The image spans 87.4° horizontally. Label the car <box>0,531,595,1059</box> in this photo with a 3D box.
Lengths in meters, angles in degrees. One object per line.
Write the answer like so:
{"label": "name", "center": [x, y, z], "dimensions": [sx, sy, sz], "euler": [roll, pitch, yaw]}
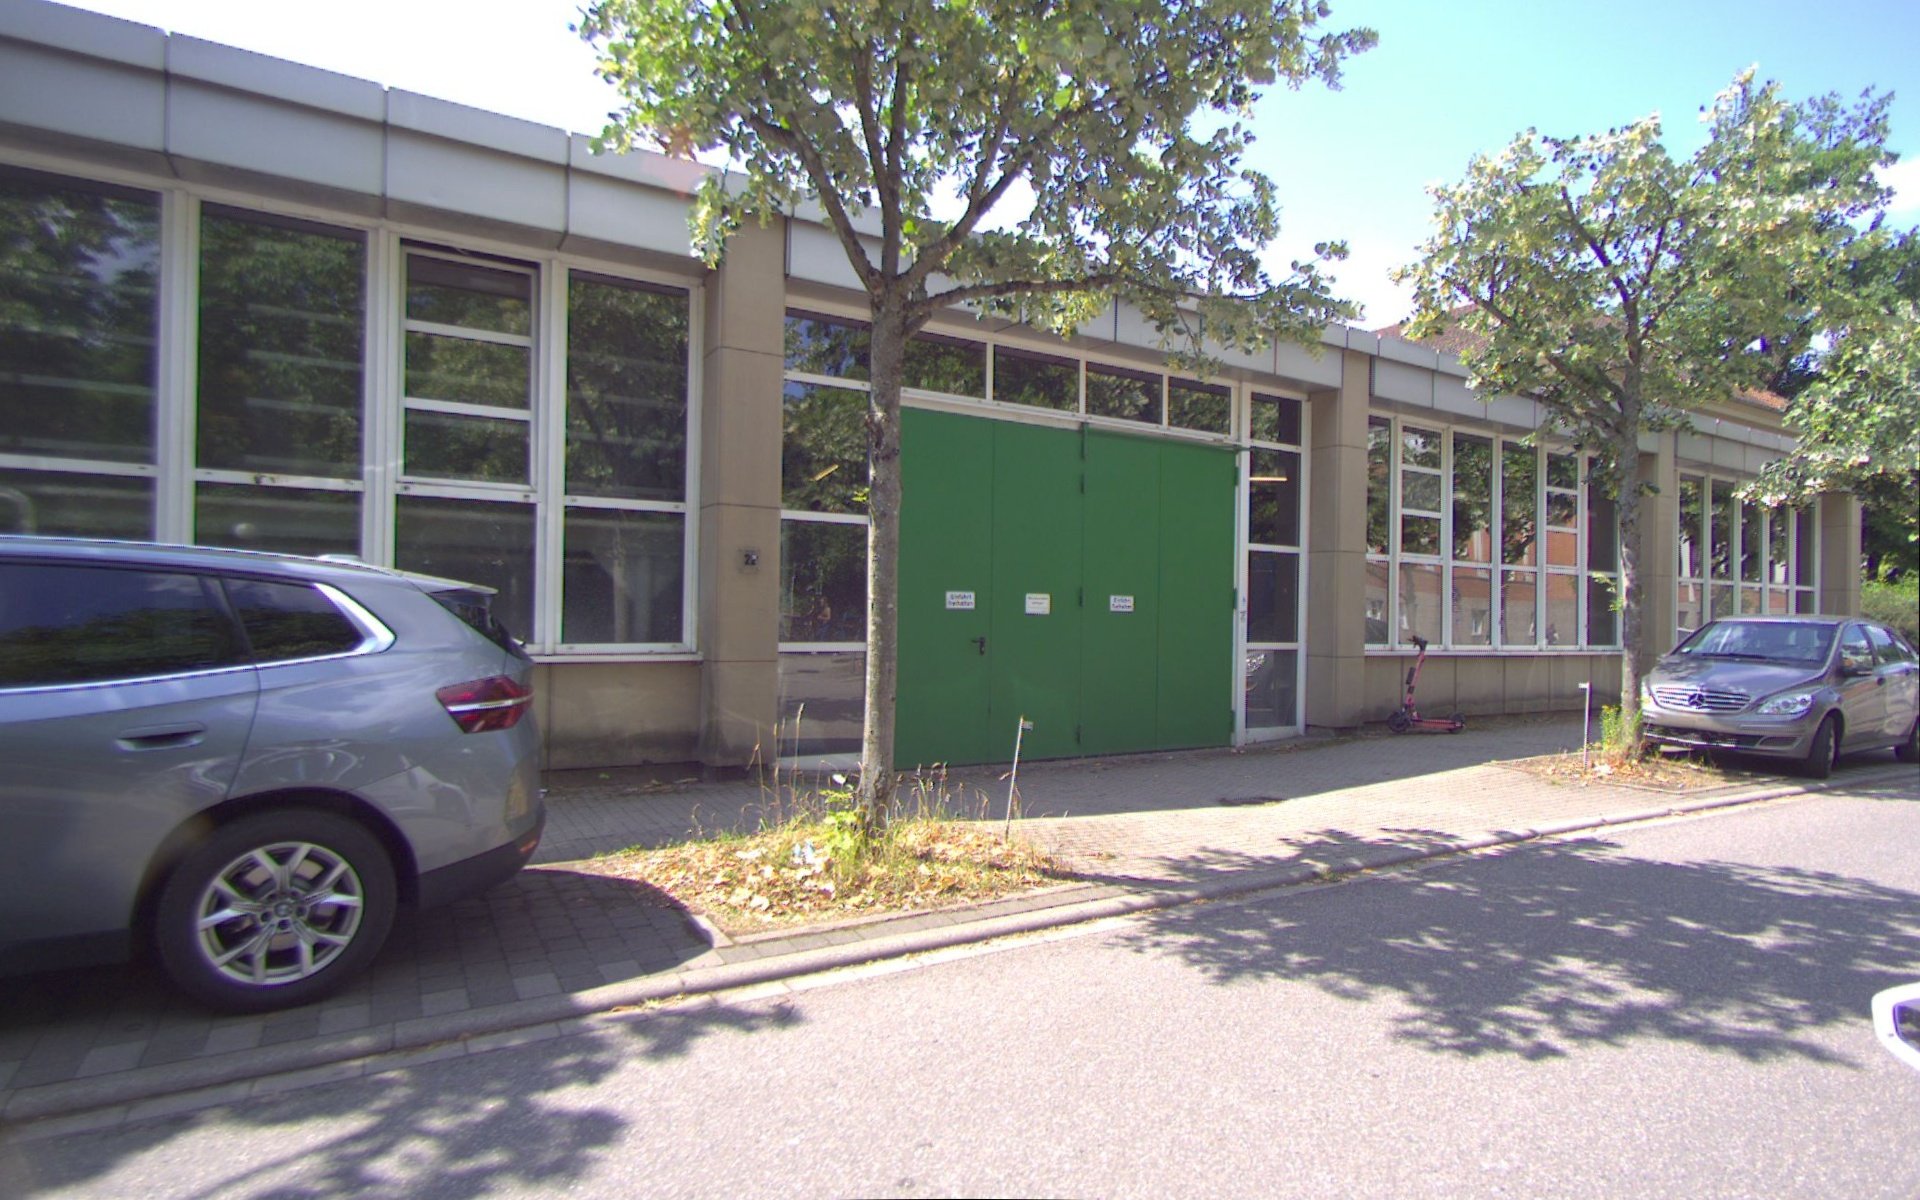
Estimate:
{"label": "car", "center": [-3.863, 0.573, 3.636], "dimensions": [4.469, 1.654, 1.811], "euler": [2, 1, -33]}

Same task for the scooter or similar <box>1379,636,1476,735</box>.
{"label": "scooter or similar", "center": [5.979, 1.066, 12.829], "dimensions": [1.201, 1.185, 0.503], "euler": [1, 1, -31]}

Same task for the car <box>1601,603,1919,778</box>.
{"label": "car", "center": [9.137, 0.900, 11.217], "dimensions": [4.069, 1.577, 1.747], "euler": [2, 1, -33]}
